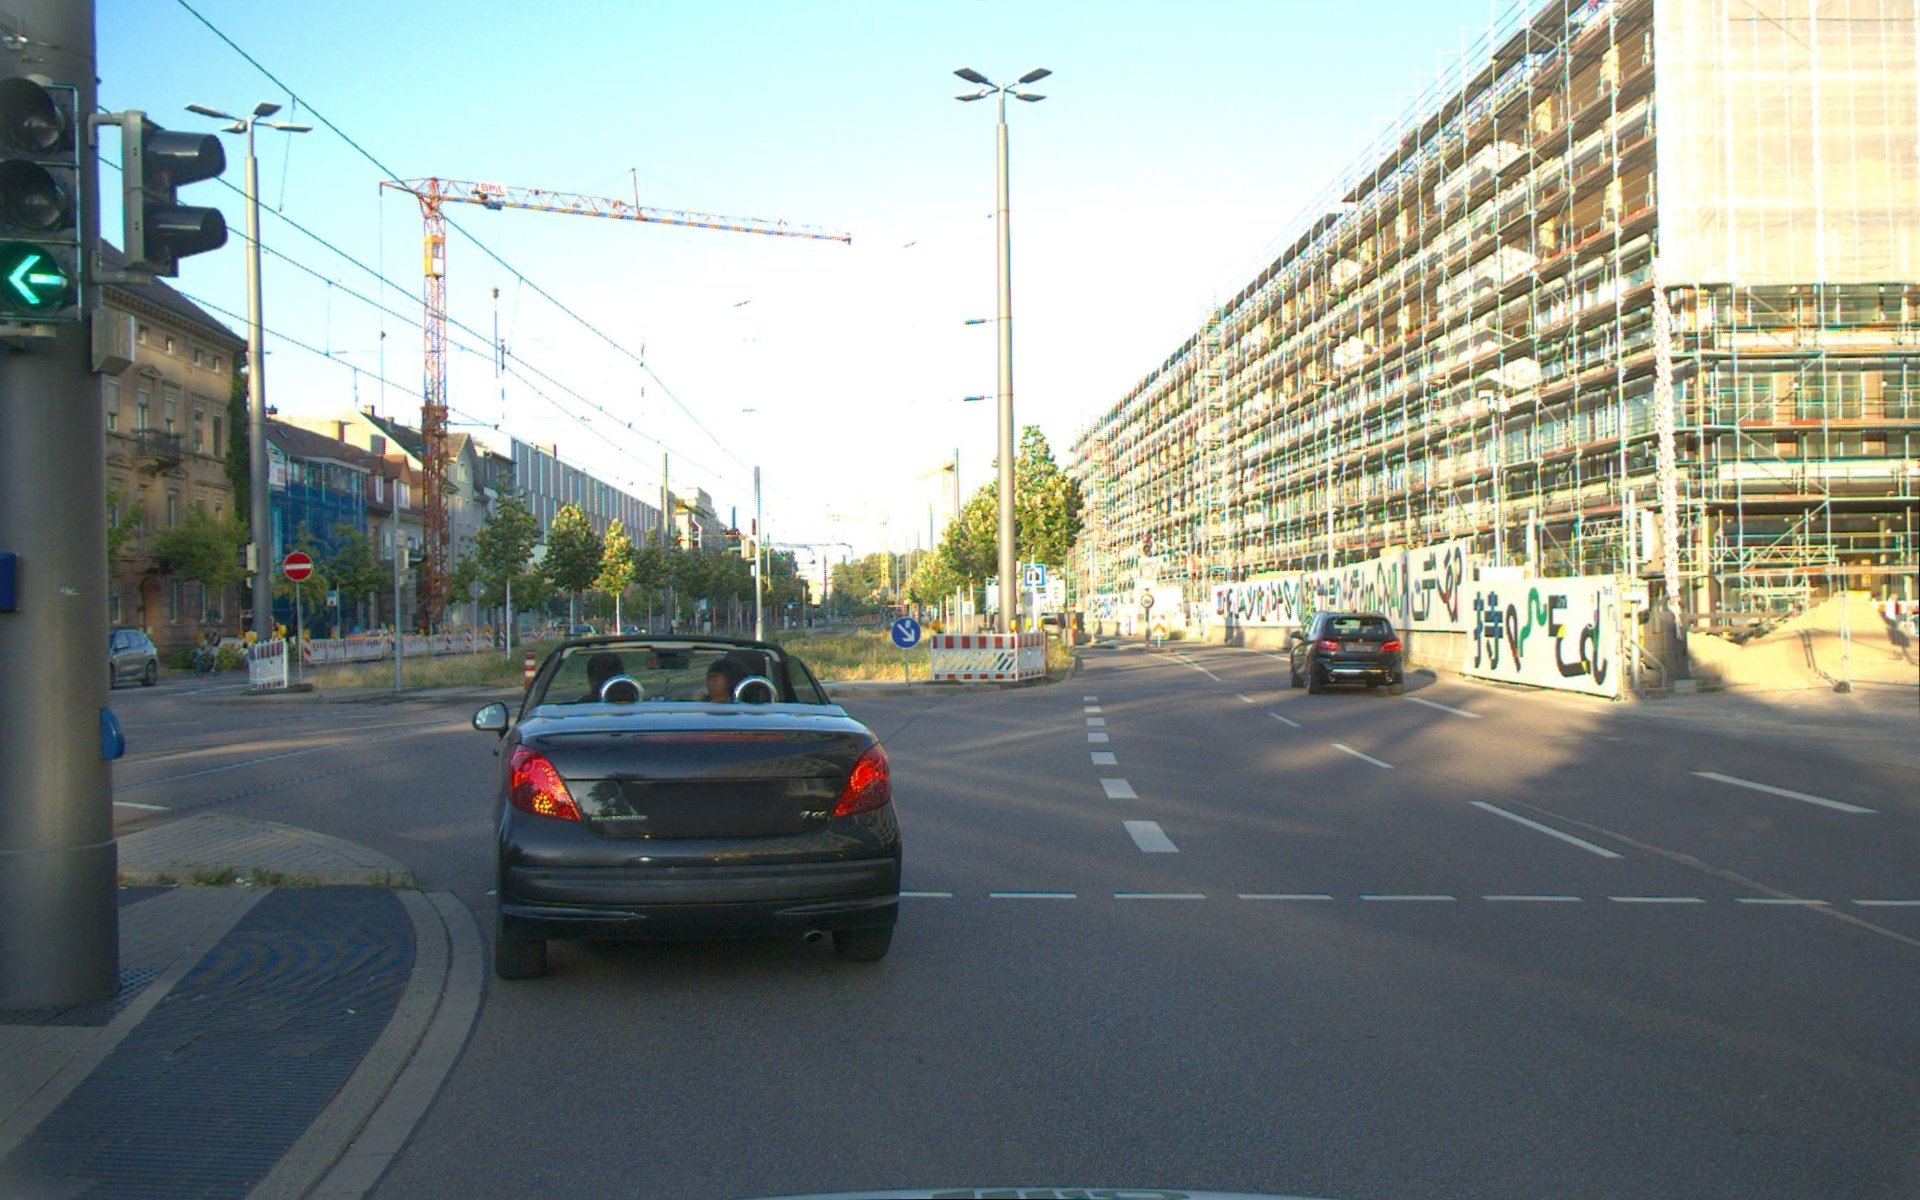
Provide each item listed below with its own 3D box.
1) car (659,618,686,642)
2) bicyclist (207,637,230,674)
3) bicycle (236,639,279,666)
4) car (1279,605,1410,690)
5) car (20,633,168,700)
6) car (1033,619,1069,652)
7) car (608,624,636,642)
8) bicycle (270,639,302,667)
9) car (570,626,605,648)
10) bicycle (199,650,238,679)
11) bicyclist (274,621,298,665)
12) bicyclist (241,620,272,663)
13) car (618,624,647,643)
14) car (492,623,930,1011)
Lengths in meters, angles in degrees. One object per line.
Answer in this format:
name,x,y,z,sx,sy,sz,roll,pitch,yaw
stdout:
car,-24.648,2.555,141.787,1.624,1.998,4.265,1,0,-1
bicyclist,-26.654,2.000,59.467,0.577,1.289,0.460,1,-1,5
bicycle,-26.337,1.951,62.019,0.756,0.961,1.641,1,0,6
car,7.517,0.888,32.733,1.782,1.545,4.793,0,0,4
car,-23.814,1.803,45.658,1.954,1.608,4.122,-3,0,-2
car,4.854,1.872,88.683,1.796,1.702,4.282,0,0,1
car,-28.822,2.794,141.078,1.624,1.456,3.893,1,0,-1
bicycle,-25.169,1.981,61.753,0.578,0.992,1.555,1,0,-2
car,-25.613,2.539,113.821,1.624,1.456,3.893,1,0,-1
bicycle,-26.661,2.307,59.463,0.577,1.006,1.557,1,0,5
bicyclist,-25.162,1.606,61.757,0.578,1.597,0.710,1,-1,-2
bicyclist,-26.339,1.546,61.933,0.756,1.598,0.793,1,-1,6
car,-26.488,2.728,133.996,1.624,1.456,3.893,1,0,-1
car,-1.400,0.822,8.189,1.646,1.376,3.985,0,0,-14
